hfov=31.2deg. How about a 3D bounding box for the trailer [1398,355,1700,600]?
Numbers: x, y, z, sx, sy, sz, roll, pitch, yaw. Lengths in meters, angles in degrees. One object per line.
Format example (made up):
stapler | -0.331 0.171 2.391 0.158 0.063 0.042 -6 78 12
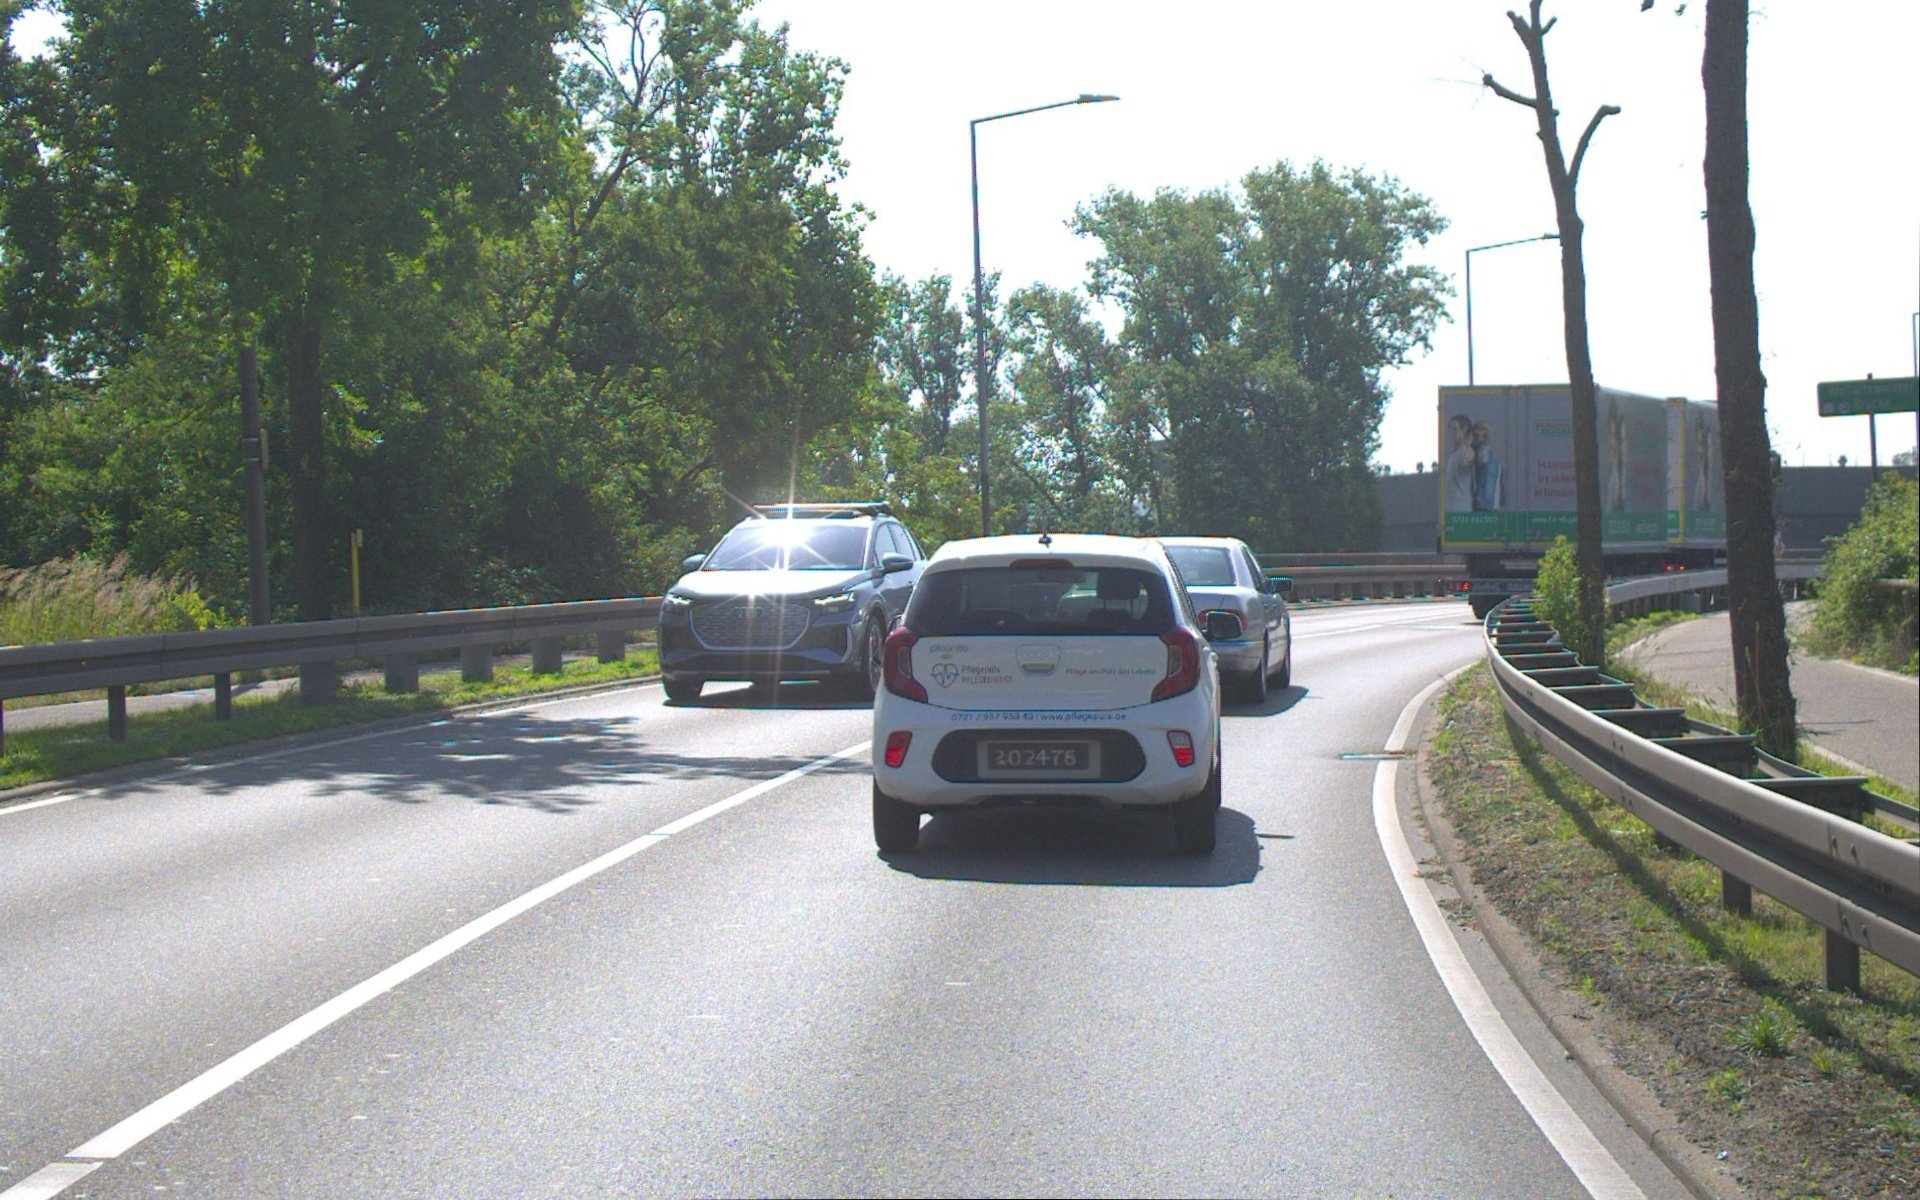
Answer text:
trailer | 9.855 -2.083 56.811 3.228 3.745 7.816 2 3 22

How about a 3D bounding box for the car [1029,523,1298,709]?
car | 1.873 0.074 30.118 1.939 1.481 4.899 0 1 8

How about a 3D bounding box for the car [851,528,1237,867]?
car | 0.533 0.392 17.429 1.702 1.489 4.000 1 1 5

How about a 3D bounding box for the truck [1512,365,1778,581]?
truck | 12.922 -2.434 64.220 3.264 3.745 8.362 2 3 22

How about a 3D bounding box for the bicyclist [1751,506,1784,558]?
bicyclist | 22.951 -1.942 97.729 0.609 1.434 1.076 -2 -1 28

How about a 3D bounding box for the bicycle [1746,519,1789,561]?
bicycle | 22.959 -1.698 97.728 0.613 1.131 2.146 -3 -1 28

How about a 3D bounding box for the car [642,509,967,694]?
car | -1.302 -0.035 30.696 1.931 1.528 4.115 0 1 12
